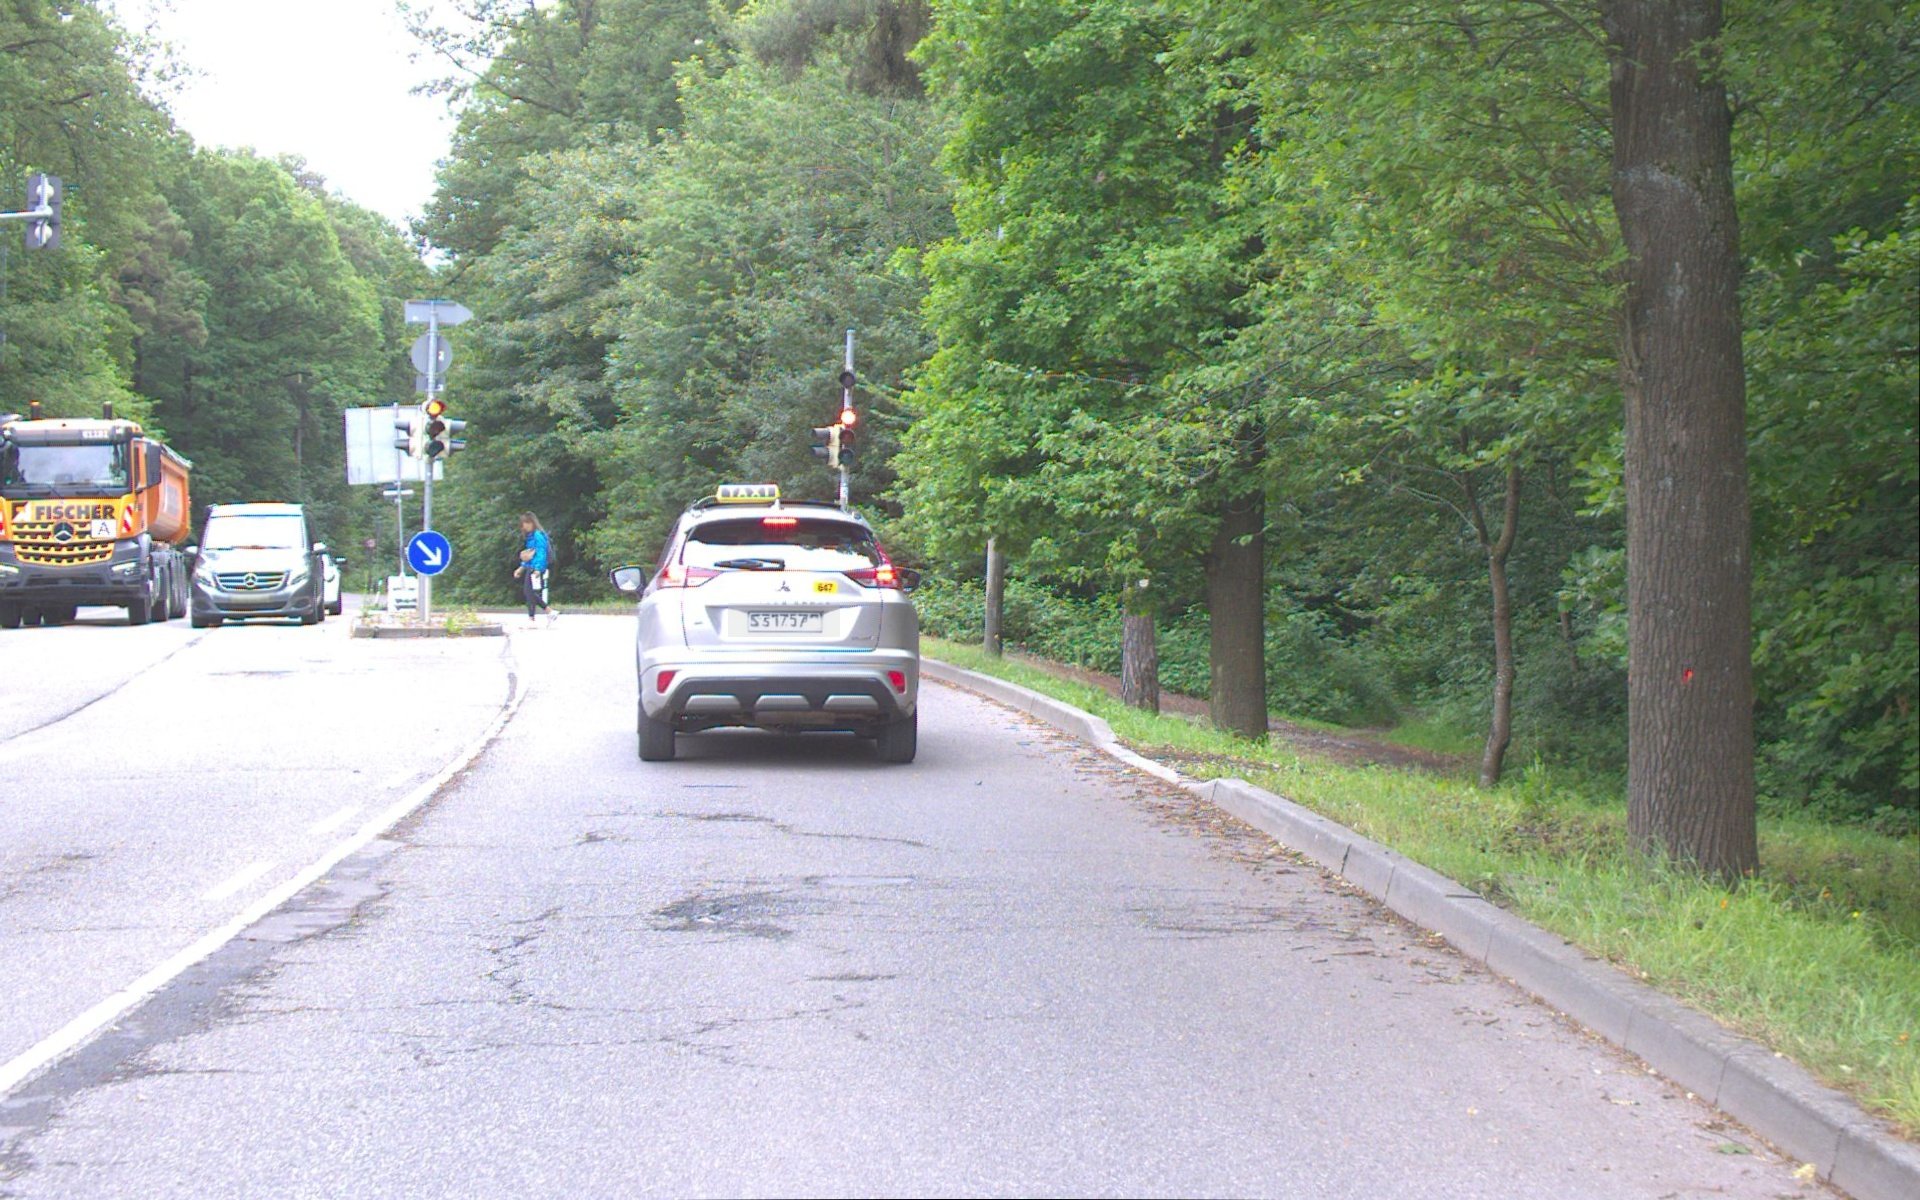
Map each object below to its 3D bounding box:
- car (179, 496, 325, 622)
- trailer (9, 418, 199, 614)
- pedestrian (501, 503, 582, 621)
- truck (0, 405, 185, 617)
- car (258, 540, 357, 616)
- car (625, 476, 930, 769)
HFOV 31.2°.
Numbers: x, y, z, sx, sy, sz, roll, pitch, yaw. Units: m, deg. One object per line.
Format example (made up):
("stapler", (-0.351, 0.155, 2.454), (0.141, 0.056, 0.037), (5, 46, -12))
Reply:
("car", (-11.182, -0.653, 54.577), (1.993, 1.887, 4.840), (-1, 1, -9))
("trailer", (-15.448, -1.463, 62.534), (2.738, 3.307, 8.571), (-1, 0, -10))
("pedestrian", (-5.936, -0.550, 48.843), (1.047, 1.643, 1.069), (0, 2, -1))
("truck", (-14.585, -1.432, 57.704), (2.738, 3.307, 7.162), (-1, 0, -10))
("car", (-12.595, -0.441, 66.495), (1.612, 1.316, 3.722), (-2, 2, -7))
("car", (-1.182, 0.077, 23.090), (1.846, 1.774, 4.001), (1, 2, -2))
